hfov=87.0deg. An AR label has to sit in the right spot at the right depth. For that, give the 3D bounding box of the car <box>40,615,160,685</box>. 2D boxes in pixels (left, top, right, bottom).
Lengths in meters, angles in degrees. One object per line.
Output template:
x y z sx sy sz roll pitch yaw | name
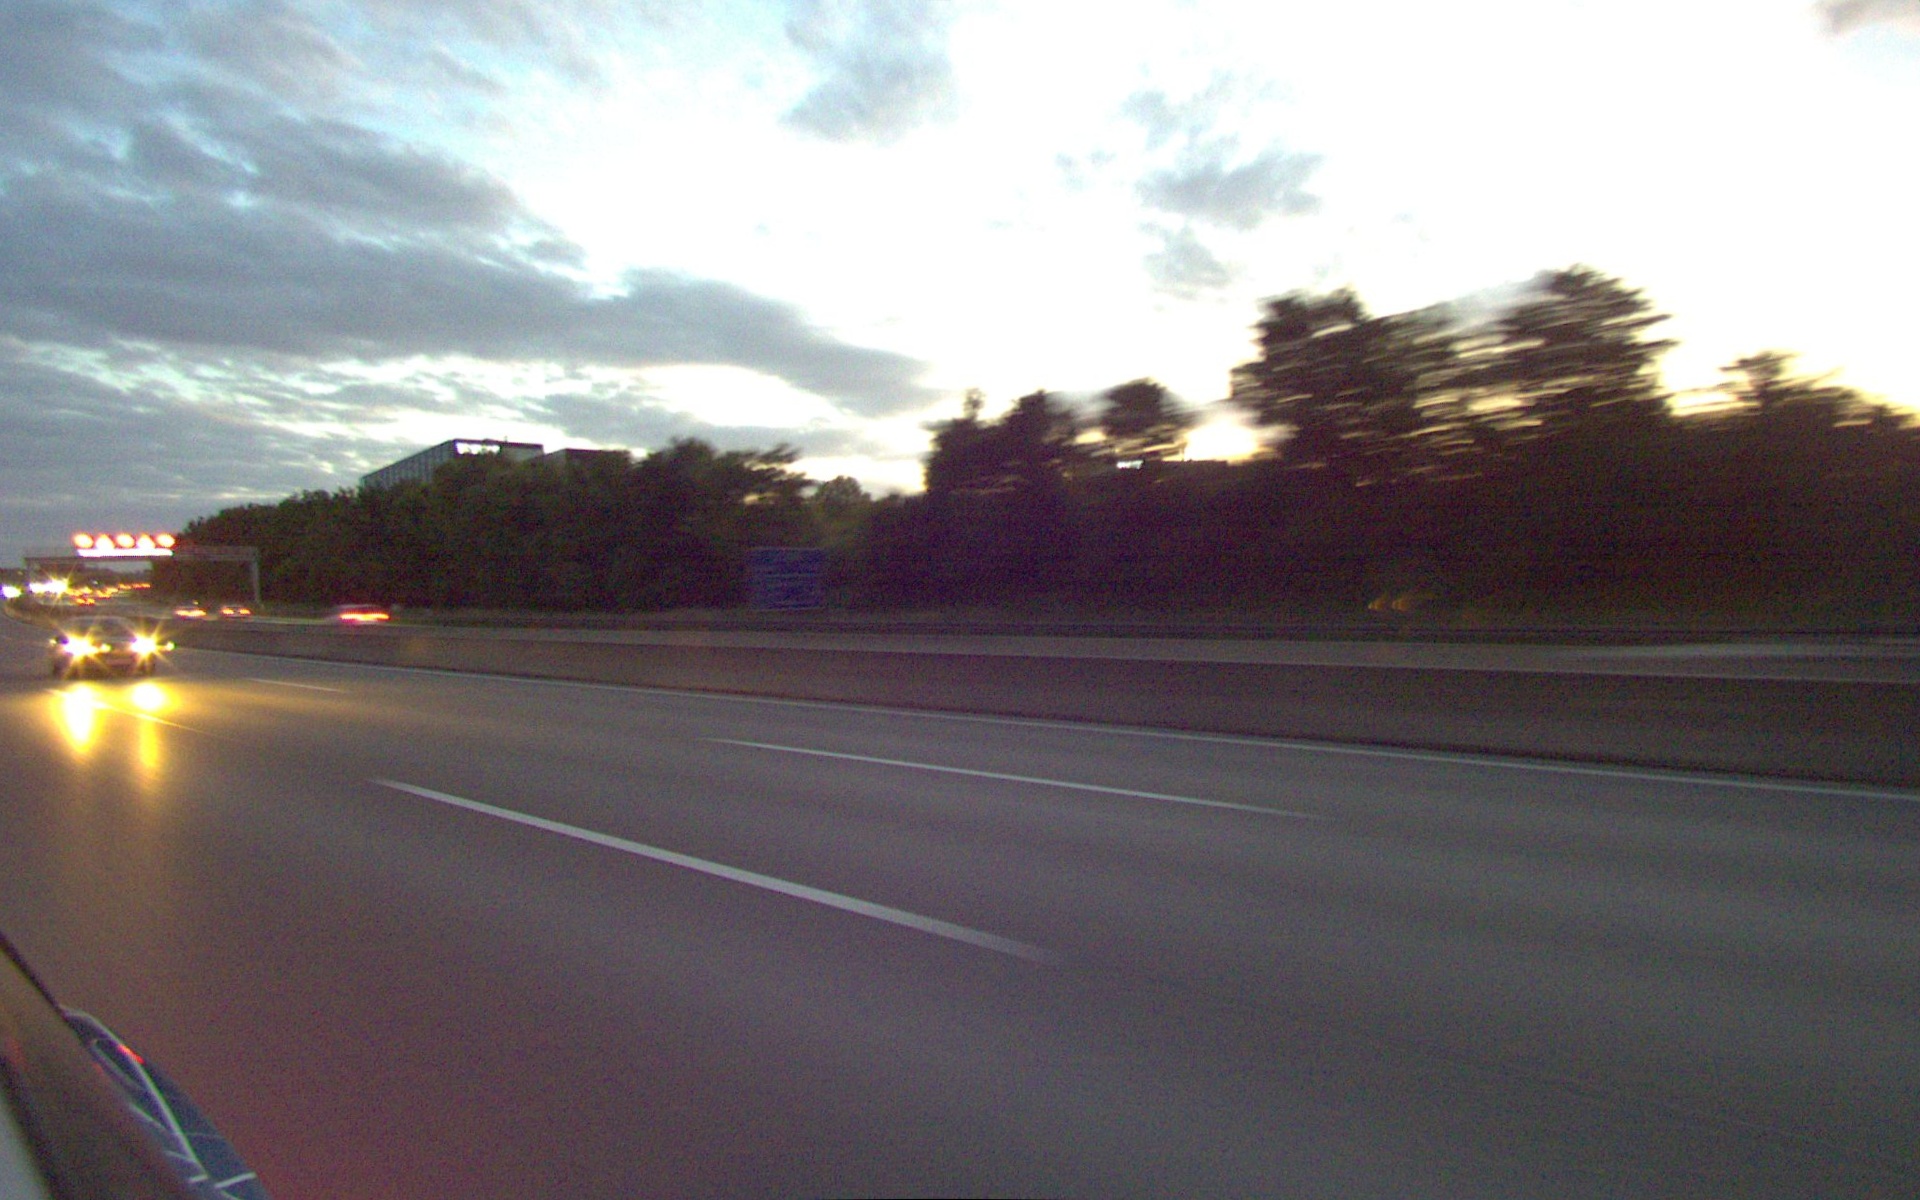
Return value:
-21.670 1.180 25.454 3.998 1.491 1.695 1 2 41 | car

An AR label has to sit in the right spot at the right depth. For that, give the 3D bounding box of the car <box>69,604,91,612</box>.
-136.695 1.237 157.271 5.234 1.235 2.037 1 2 43 | car

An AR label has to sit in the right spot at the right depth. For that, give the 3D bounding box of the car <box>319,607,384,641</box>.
-37.038 1.419 61.566 4.675 1.907 1.973 1 2 40 | car

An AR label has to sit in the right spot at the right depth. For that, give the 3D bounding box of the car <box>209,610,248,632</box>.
-69.057 1.950 95.508 5.056 1.907 1.972 1 2 42 | car

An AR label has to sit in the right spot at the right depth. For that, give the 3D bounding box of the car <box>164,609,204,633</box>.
-68.472 1.815 89.243 5.056 1.907 1.855 1 2 42 | car
